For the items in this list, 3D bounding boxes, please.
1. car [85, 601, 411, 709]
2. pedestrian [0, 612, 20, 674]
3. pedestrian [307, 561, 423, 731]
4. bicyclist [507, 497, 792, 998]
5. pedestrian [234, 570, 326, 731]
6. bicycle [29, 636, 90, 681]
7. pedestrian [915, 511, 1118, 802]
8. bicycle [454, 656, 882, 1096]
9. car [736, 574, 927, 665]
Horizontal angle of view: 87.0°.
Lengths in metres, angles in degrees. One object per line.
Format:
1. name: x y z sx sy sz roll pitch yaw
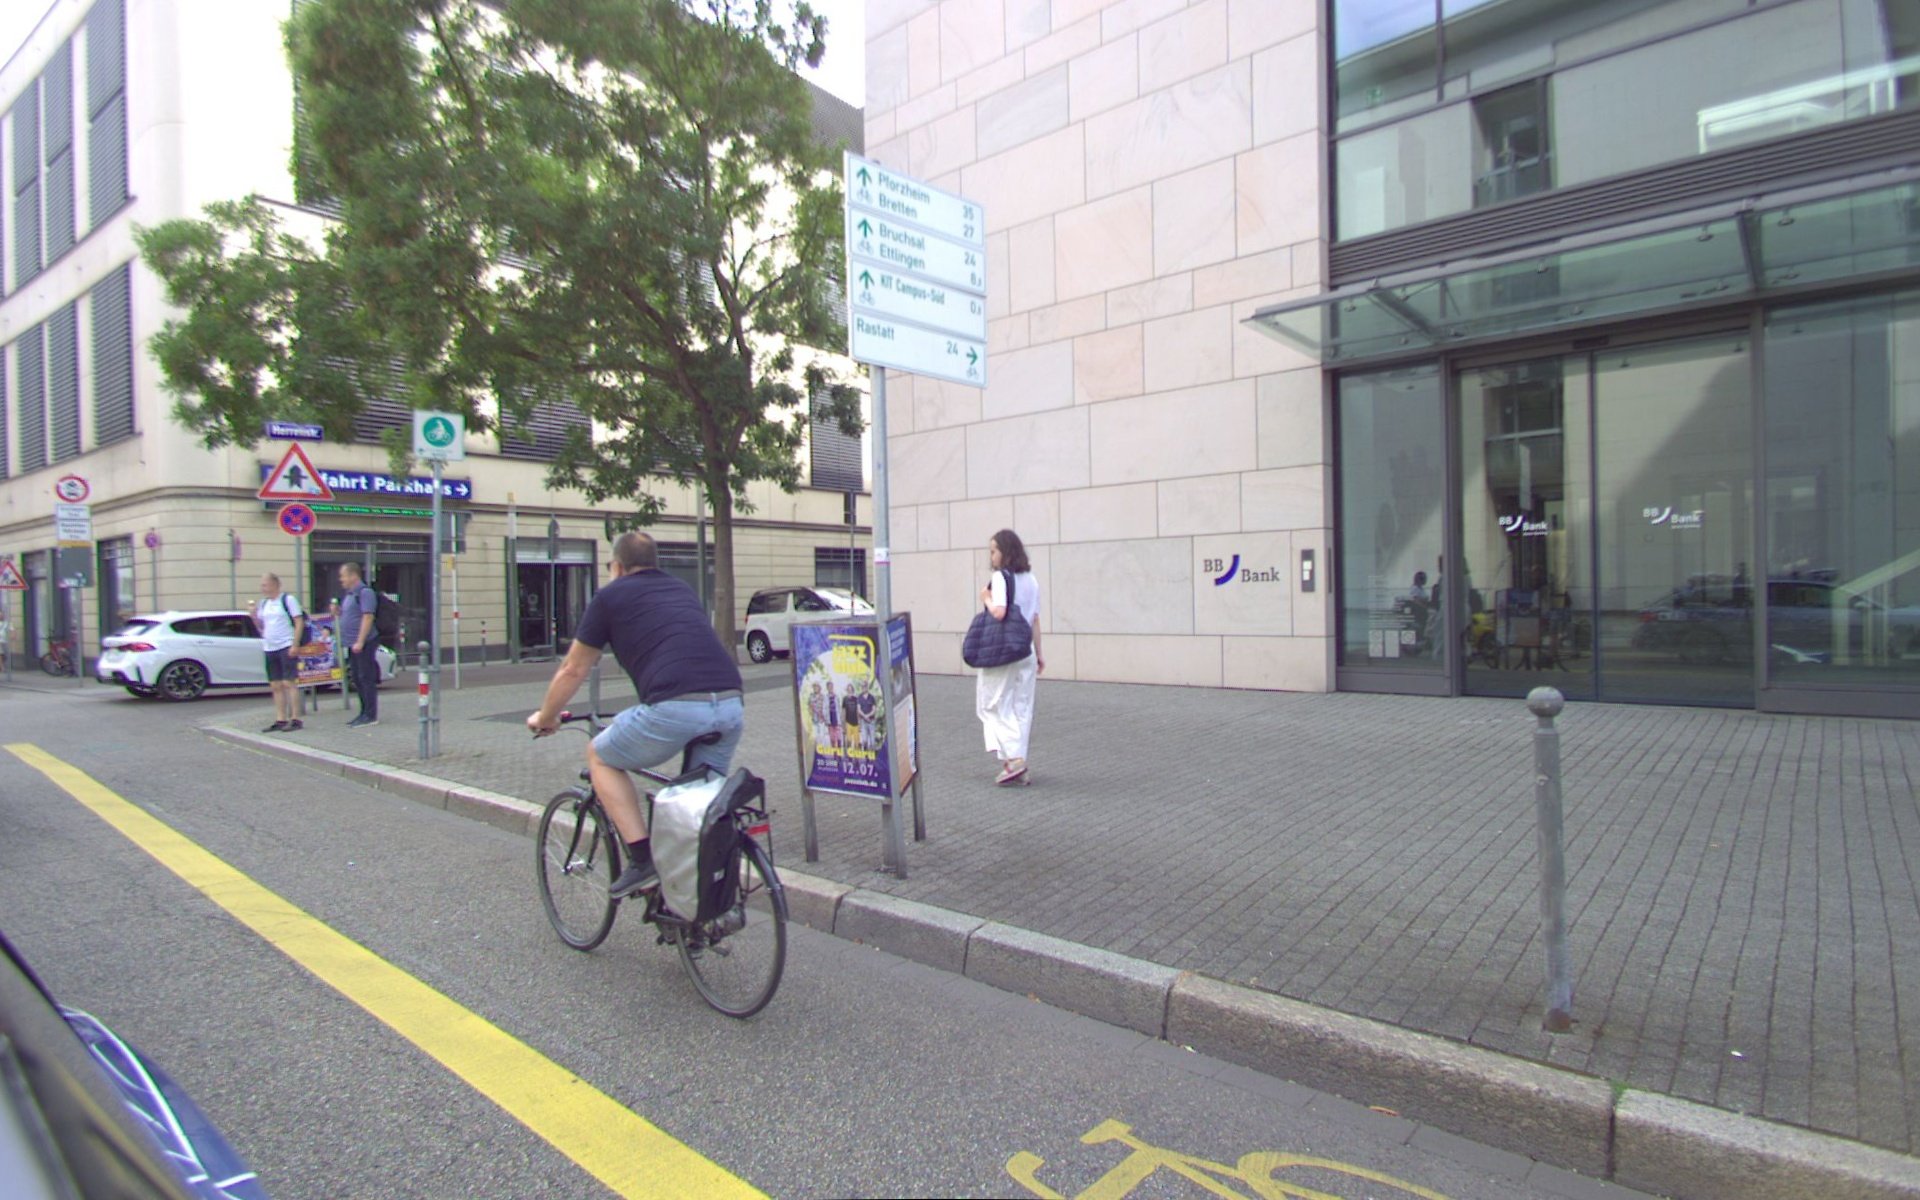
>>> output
1. car: -12.208 0.842 17.601 1.813 1.593 4.310 -1 0 38
2. pedestrian: -28.456 1.285 29.725 1.057 1.778 0.883 -1 3 33
3. pedestrian: -6.753 0.502 11.505 0.753 1.827 0.738 -2 3 29
4. bicyclist: -1.213 0.501 3.934 0.939 1.666 0.636 -1 -3 42
5. pedestrian: -7.823 0.564 11.646 0.651 1.778 0.637 -2 0 29
6. bicycle: -23.421 1.499 26.302 2.539 1.052 0.684 -1 0 37
7. pedestrian: 0.379 0.312 6.608 0.909 1.721 0.868 -1 4 40
8. bicycle: -1.216 0.874 3.930 1.952 1.250 0.640 -1 -3 42
9. car: -2.904 0.464 22.477 3.957 1.706 1.876 -5 -3 37
